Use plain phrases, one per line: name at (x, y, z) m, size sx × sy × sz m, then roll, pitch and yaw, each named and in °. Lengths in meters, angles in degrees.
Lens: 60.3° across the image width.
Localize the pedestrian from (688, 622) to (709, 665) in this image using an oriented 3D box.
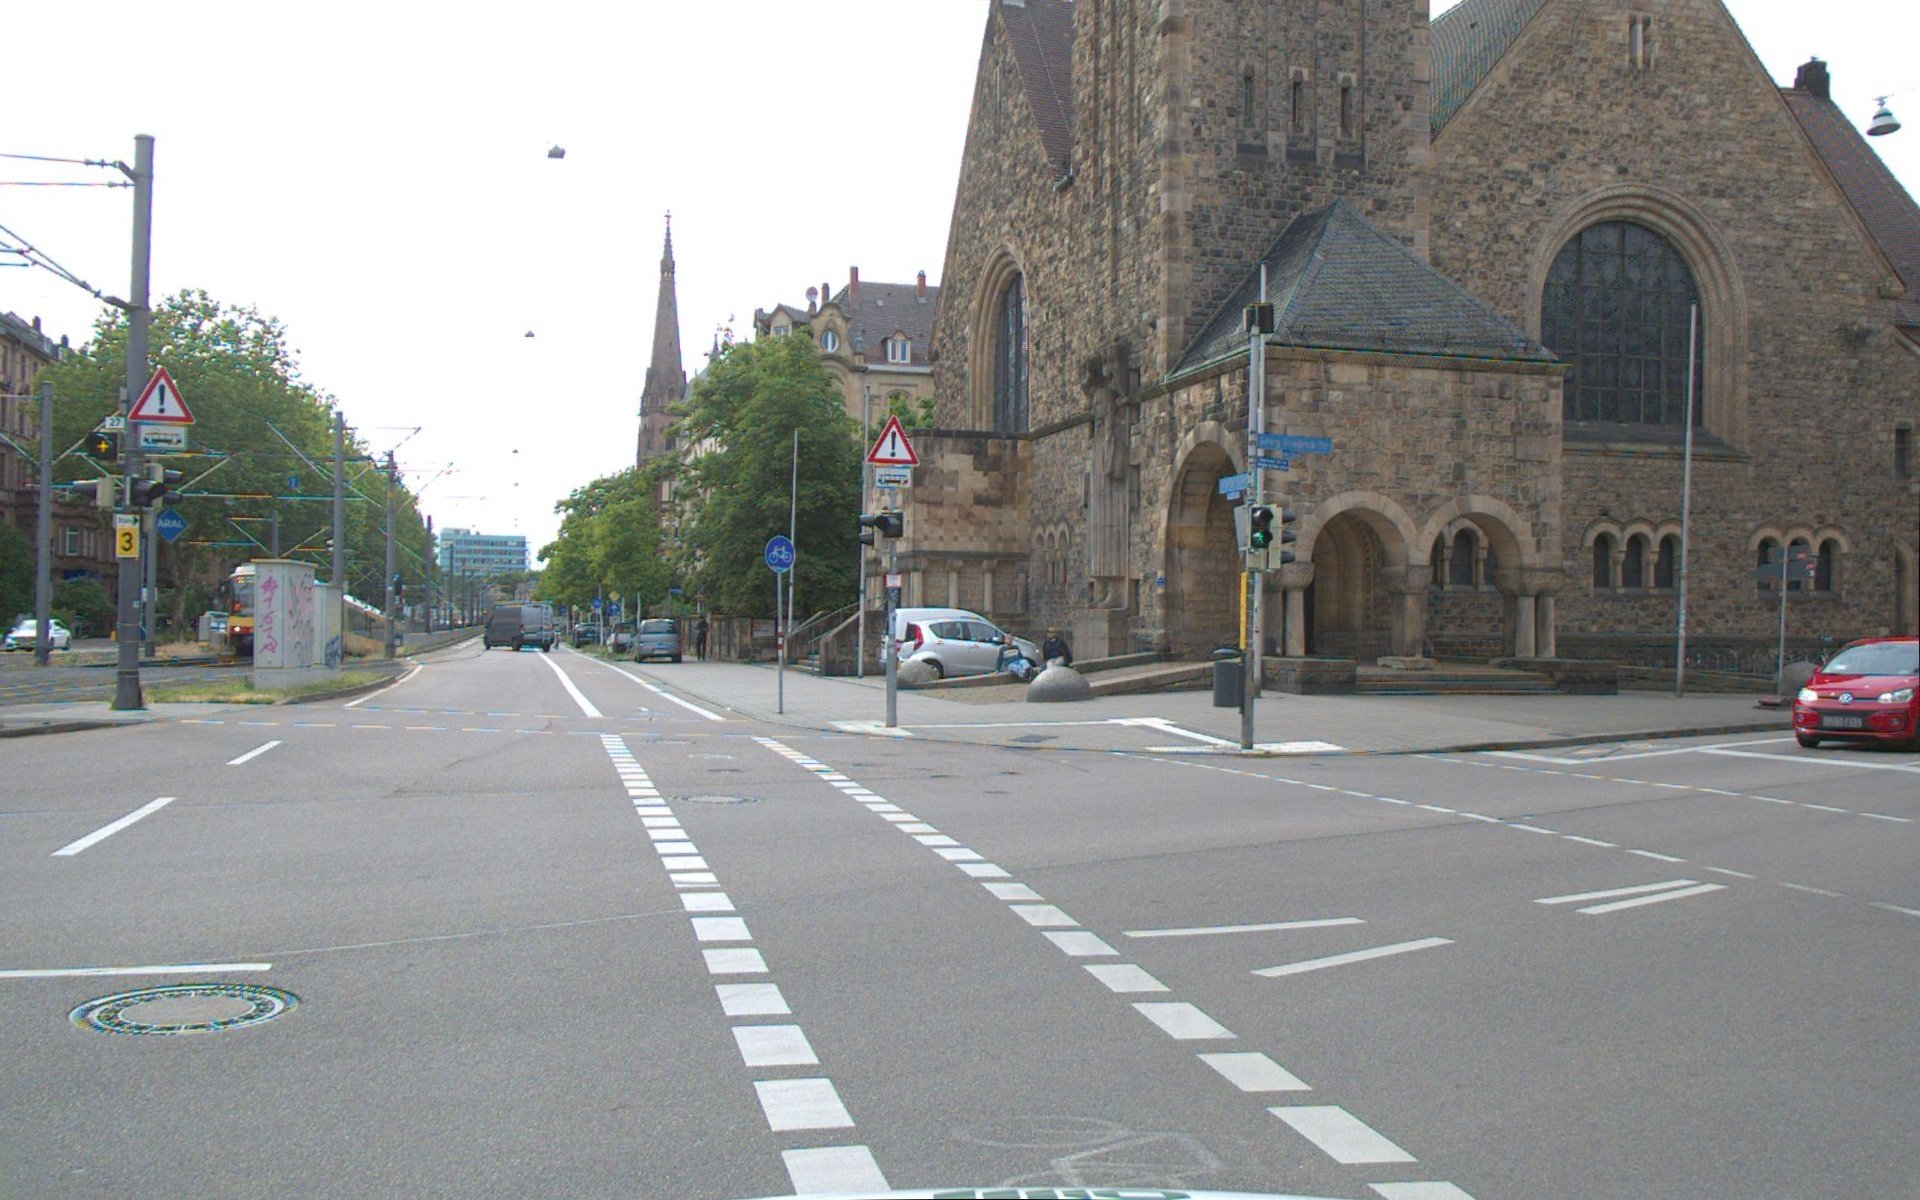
pedestrian at (-10.261, 1.704, 64.946) m, size 0.762 × 1.676 × 0.796 m, roll 2°, pitch -2°, yaw -9°

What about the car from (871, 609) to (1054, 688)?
car at (0.056, 1.277, 43.544) m, size 4.535 × 1.914 × 1.655 m, roll 2°, pitch -2°, yaw -16°

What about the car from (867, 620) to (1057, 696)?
car at (0.038, 1.402, 39.971) m, size 4.277 × 1.665 × 1.655 m, roll 2°, pitch -2°, yaw -16°

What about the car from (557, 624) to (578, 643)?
car at (-42.413, 3.655, 178.795) m, size 1.961 × 1.959 × 3.982 m, roll 2°, pitch -1°, yaw -16°

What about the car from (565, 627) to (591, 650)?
car at (-32.825, 3.314, 142.005) m, size 1.960 × 1.915 × 3.983 m, roll 1°, pitch -1°, yaw -15°

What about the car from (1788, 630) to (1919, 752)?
car at (13.158, 1.205, 22.907) m, size 3.857 × 1.555 × 1.630 m, roll 0°, pitch -3°, yaw -40°

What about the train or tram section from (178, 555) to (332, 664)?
train or tram section at (-30.639, 0.508, 72.724) m, size 3.581 × 4.165 × 14.984 m, roll 2°, pitch -1°, yaw -14°

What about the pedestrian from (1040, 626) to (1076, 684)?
pedestrian at (2.193, 1.233, 37.126) m, size 0.721 × 1.250 × 1.062 m, roll 2°, pitch -2°, yaw 0°

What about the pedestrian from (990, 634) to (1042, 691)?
pedestrian at (1.243, 1.375, 36.782) m, size 0.724 × 1.212 × 1.487 m, roll 2°, pitch -2°, yaw -15°

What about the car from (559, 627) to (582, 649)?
car at (-37.644, 3.629, 159.745) m, size 1.961 × 2.049 × 3.982 m, roll 2°, pitch -1°, yaw -16°

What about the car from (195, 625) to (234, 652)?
car at (-50.962, 2.642, 113.117) m, size 1.674 × 1.742 × 3.875 m, roll 2°, pitch -1°, yaw -14°

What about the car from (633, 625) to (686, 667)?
car at (-11.471, 1.740, 62.911) m, size 1.674 × 1.485 × 3.875 m, roll 2°, pitch -1°, yaw -14°

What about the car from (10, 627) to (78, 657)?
car at (-41.285, 1.880, 74.604) m, size 1.674 × 1.242 × 3.875 m, roll 2°, pitch -1°, yaw -14°

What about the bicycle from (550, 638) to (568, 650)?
bicycle at (-24.547, 2.684, 101.239) m, size 0.603 × 0.666 × 2.360 m, roll 3°, pitch -2°, yaw -26°

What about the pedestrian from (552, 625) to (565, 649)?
pedestrian at (-24.596, 2.275, 101.432) m, size 0.643 × 1.500 × 0.646 m, roll 1°, pitch -1°, yaw -25°

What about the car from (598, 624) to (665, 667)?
car at (-14.451, 1.962, 72.537) m, size 2.170 × 1.776 × 5.004 m, roll 1°, pitch -1°, yaw -20°
